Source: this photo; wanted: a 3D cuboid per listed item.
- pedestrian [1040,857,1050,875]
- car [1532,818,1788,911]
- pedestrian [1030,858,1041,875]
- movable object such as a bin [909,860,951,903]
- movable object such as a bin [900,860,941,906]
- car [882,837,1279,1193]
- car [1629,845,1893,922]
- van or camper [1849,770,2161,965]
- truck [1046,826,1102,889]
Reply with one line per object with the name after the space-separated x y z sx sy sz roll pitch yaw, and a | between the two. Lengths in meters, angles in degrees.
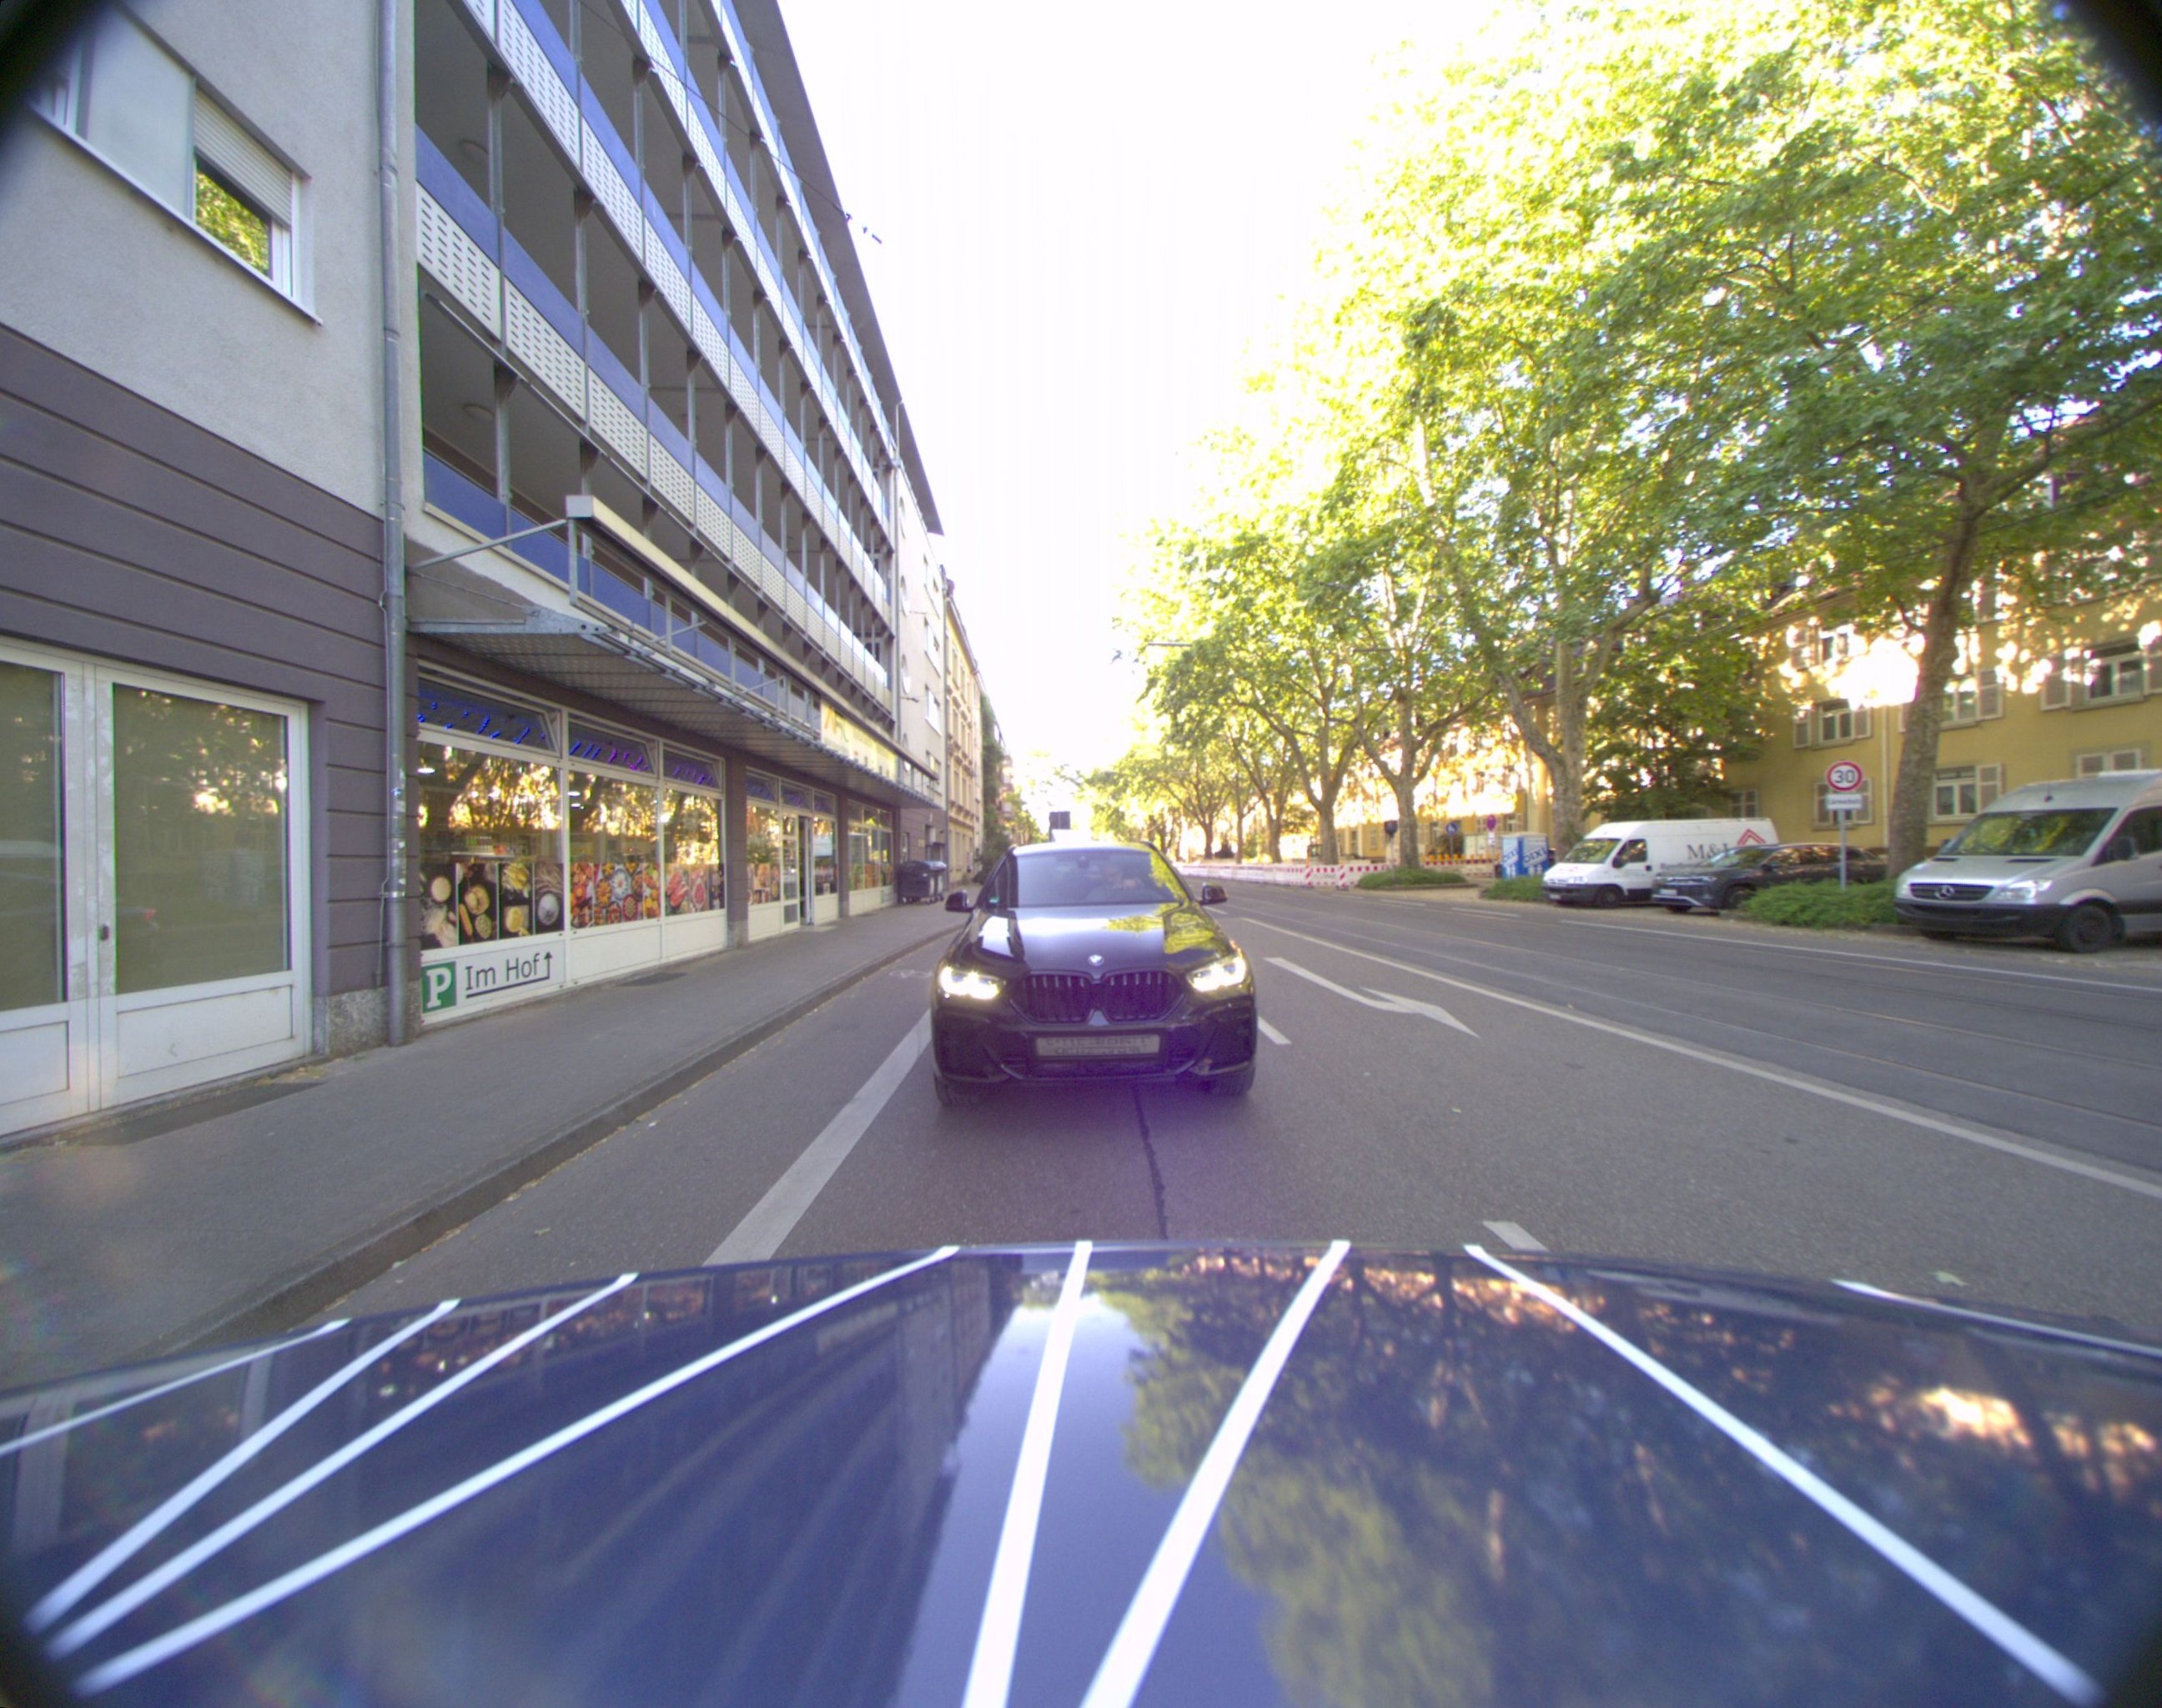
-3.682 1.240 78.140 0.876 1.728 0.848 -3 1 1 | pedestrian
15.854 0.274 21.010 5.612 2.361 2.025 -1 0 -2 | car
-4.640 1.291 77.744 0.876 1.728 0.848 -3 1 3 | pedestrian
-5.285 0.951 26.718 1.122 1.437 1.306 -1 0 4 | movable object such as a bin
-5.225 0.931 24.822 1.069 1.438 1.296 -1 0 -1 | movable object such as a bin
0.023 0.823 6.069 1.943 1.733 4.475 -2 0 1 | car
15.942 0.656 17.984 4.575 1.621 1.969 -1 0 -2 | car
16.091 0.128 11.811 6.127 2.661 2.229 -2 0 -2 | van or camper
-0.573 0.200 43.167 2.385 3.165 8.525 2 0 -5 | truck
